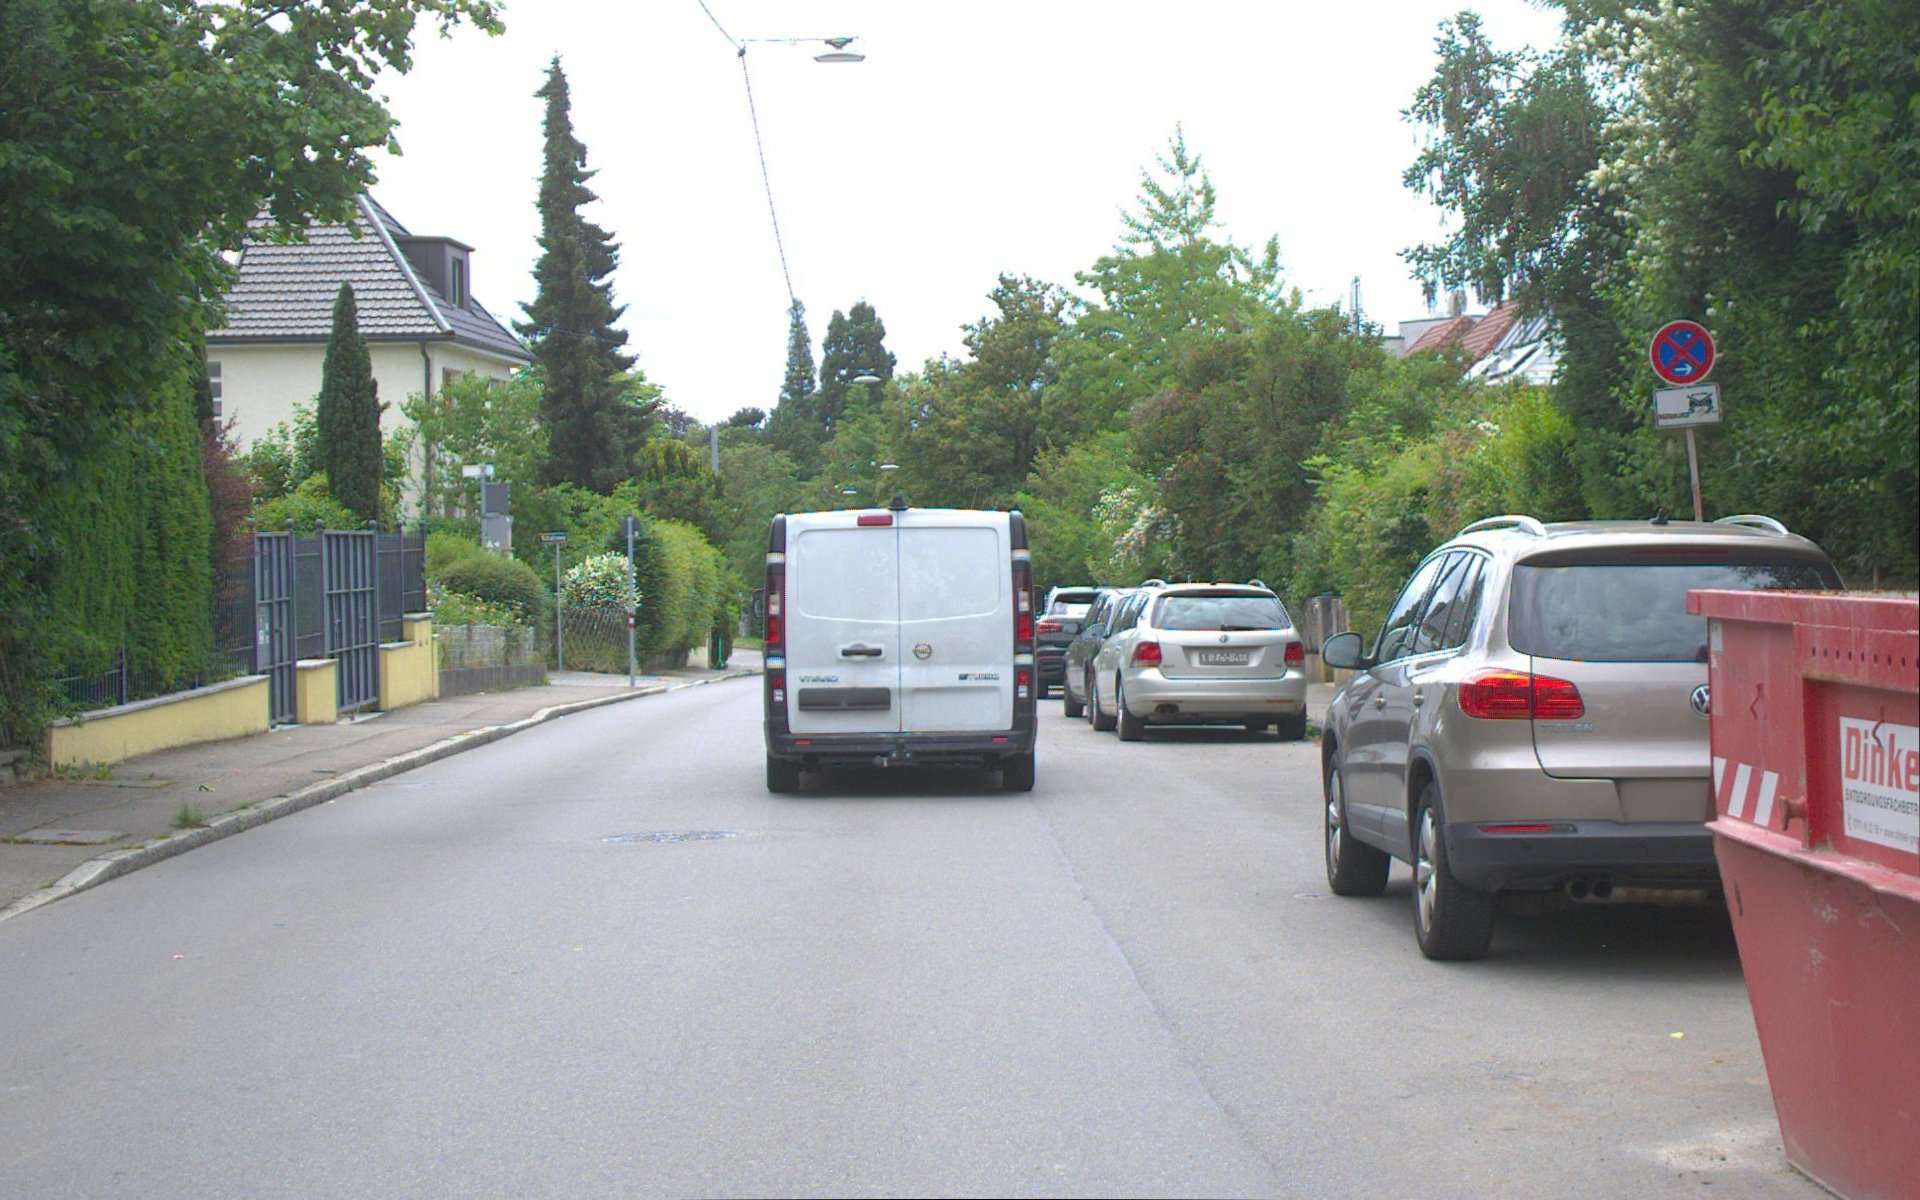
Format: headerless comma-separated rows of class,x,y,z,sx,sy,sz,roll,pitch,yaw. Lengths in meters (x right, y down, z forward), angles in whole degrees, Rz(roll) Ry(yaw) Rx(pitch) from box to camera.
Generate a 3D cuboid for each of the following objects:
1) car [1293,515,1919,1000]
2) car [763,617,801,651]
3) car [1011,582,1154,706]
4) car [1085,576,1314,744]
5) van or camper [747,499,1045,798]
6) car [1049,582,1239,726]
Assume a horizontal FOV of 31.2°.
car,2.521,0.523,14.153,1.744,1.669,4.185,-1,1,-2
car,-8.758,1.664,169.391,1.744,1.520,4.012,-1,1,-2
car,1.717,0.594,49.409,1.744,1.624,4.259,-1,1,-2
car,2.217,0.521,32.816,1.744,1.442,4.259,-1,1,-2
van or camper,-0.485,0.317,24.977,1.939,1.947,4.765,1,0,-2
car,1.990,0.554,38.227,1.744,1.442,4.259,-1,1,-2
